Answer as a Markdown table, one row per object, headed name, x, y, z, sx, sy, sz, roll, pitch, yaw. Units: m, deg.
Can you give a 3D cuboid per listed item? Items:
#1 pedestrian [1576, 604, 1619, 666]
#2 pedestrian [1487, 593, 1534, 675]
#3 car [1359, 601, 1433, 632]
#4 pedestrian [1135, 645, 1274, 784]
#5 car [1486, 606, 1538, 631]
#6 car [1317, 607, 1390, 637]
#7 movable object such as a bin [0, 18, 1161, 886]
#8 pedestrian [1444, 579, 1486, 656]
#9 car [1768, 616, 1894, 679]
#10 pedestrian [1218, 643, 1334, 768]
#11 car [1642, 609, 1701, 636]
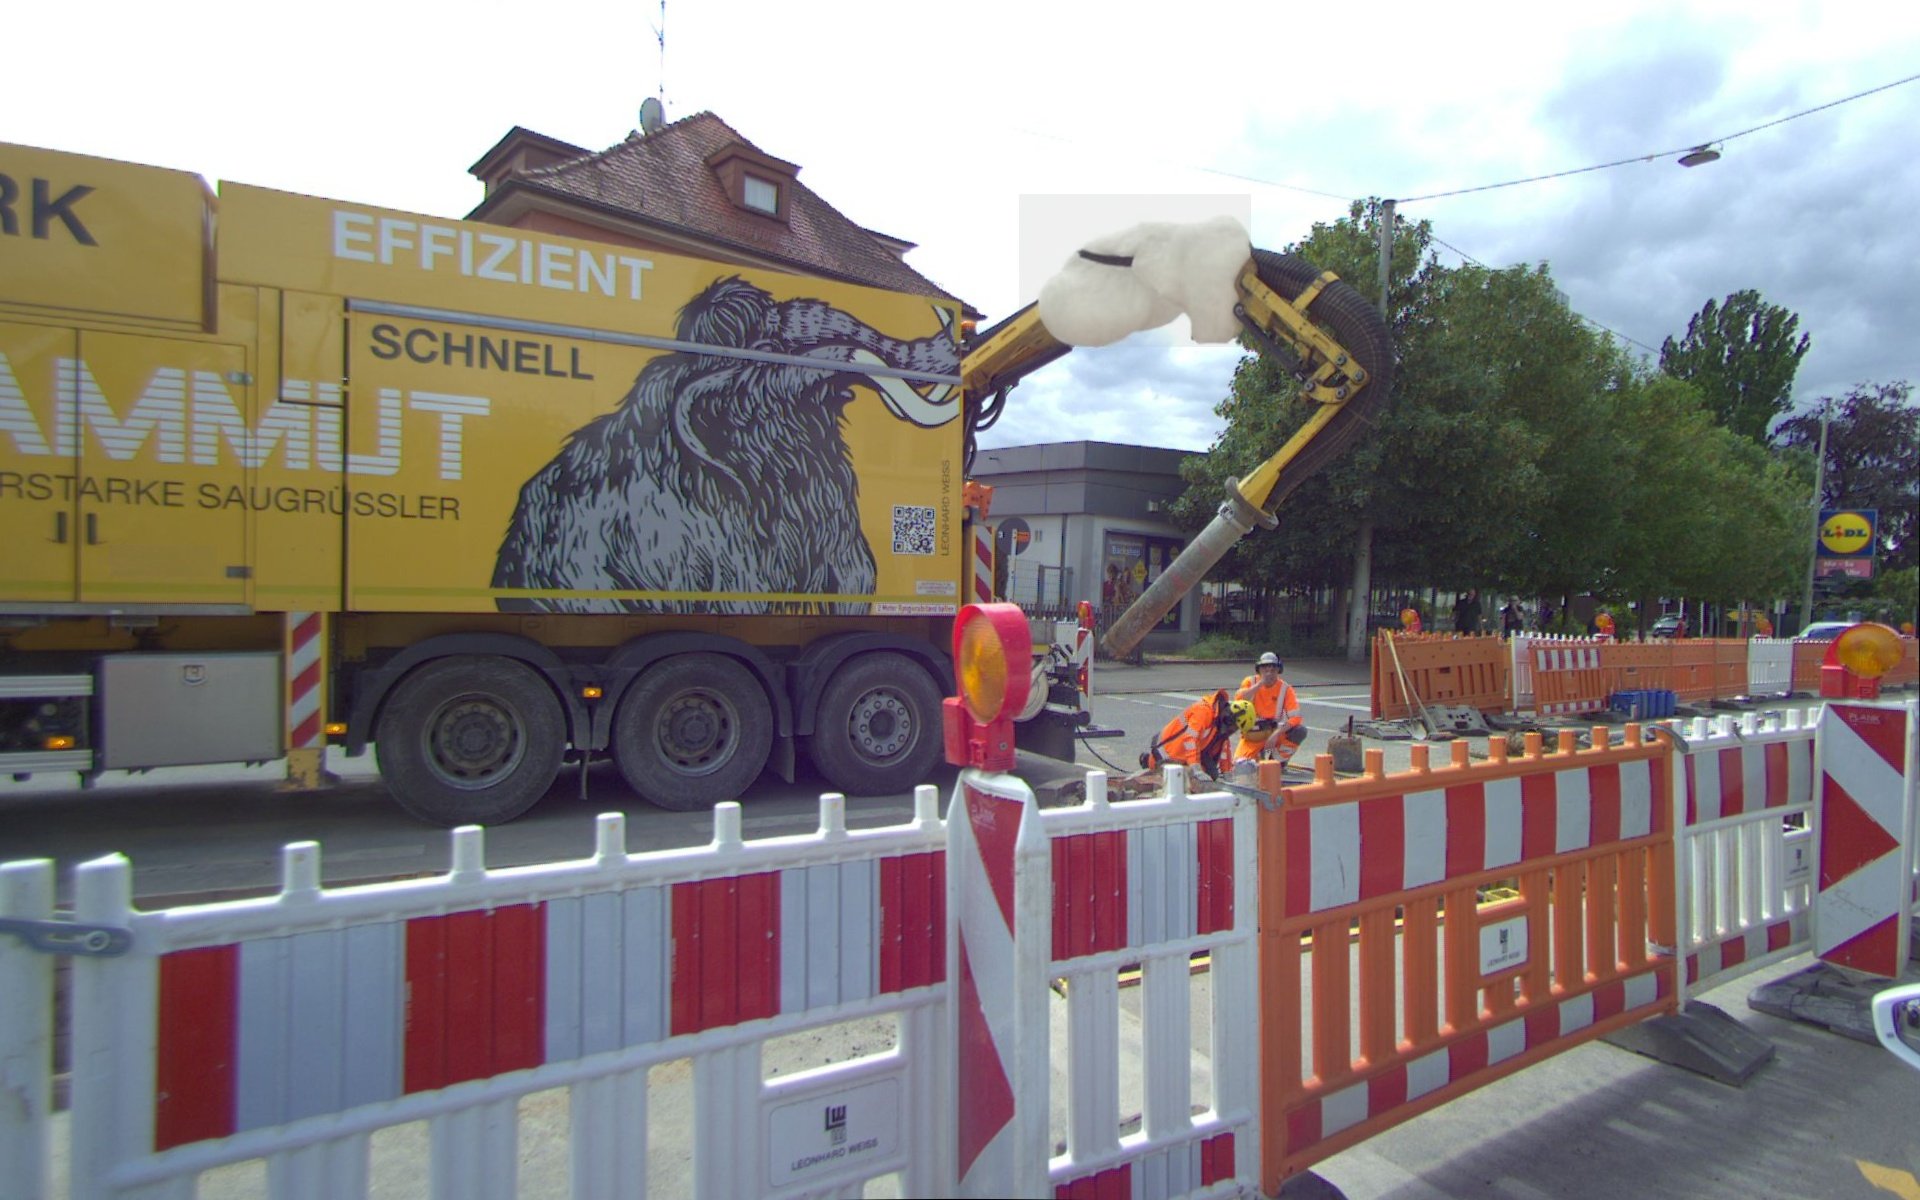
| name | x | y | z | sx | sy | sz | roll | pitch | yaw |
| --- | --- | --- | --- | --- | --- | --- | --- | --- | --- |
| pedestrian | 17.125 | 0.929 | 26.999 | 0.824 | 1.624 | 0.745 | 1 | 1 | -43 |
| pedestrian | 12.889 | 0.782 | 23.541 | 0.611 | 1.872 | 0.695 | 2 | 1 | -11 |
| car | 24.259 | 0.939 | 55.784 | 4.638 | 1.593 | 1.976 | 2 | 1 | -42 |
| pedestrian | 1.935 | 0.891 | 8.024 | 0.798 | 1.004 | 0.791 | 1 | 0 | -12 |
| car | 36.905 | 1.256 | 67.158 | 3.974 | 1.573 | 1.974 | 1 | 1 | -44 |
| car | 22.548 | 1.256 | 57.528 | 4.638 | 1.593 | 1.976 | 2 | 1 | -42 |
| movable object such as a bin | -3.898 | -0.701 | 6.818 | 10.974 | 4.278 | 2.582 | 1 | 0 | -26 |
| pedestrian | 12.470 | 0.420 | 24.799 | 0.611 | 1.872 | 0.626 | 2 | 1 | -12 |
| car | 23.667 | 1.249 | 27.252 | 3.965 | 1.472 | 1.840 | 1 | 2 | -39 |
| pedestrian | 2.739 | 0.905 | 8.766 | 0.778 | 1.004 | 0.642 | 1 | 1 | -2 |
| car | 42.474 | 1.358 | 59.928 | 3.968 | 1.472 | 1.976 | 1 | 1 | -41 |
